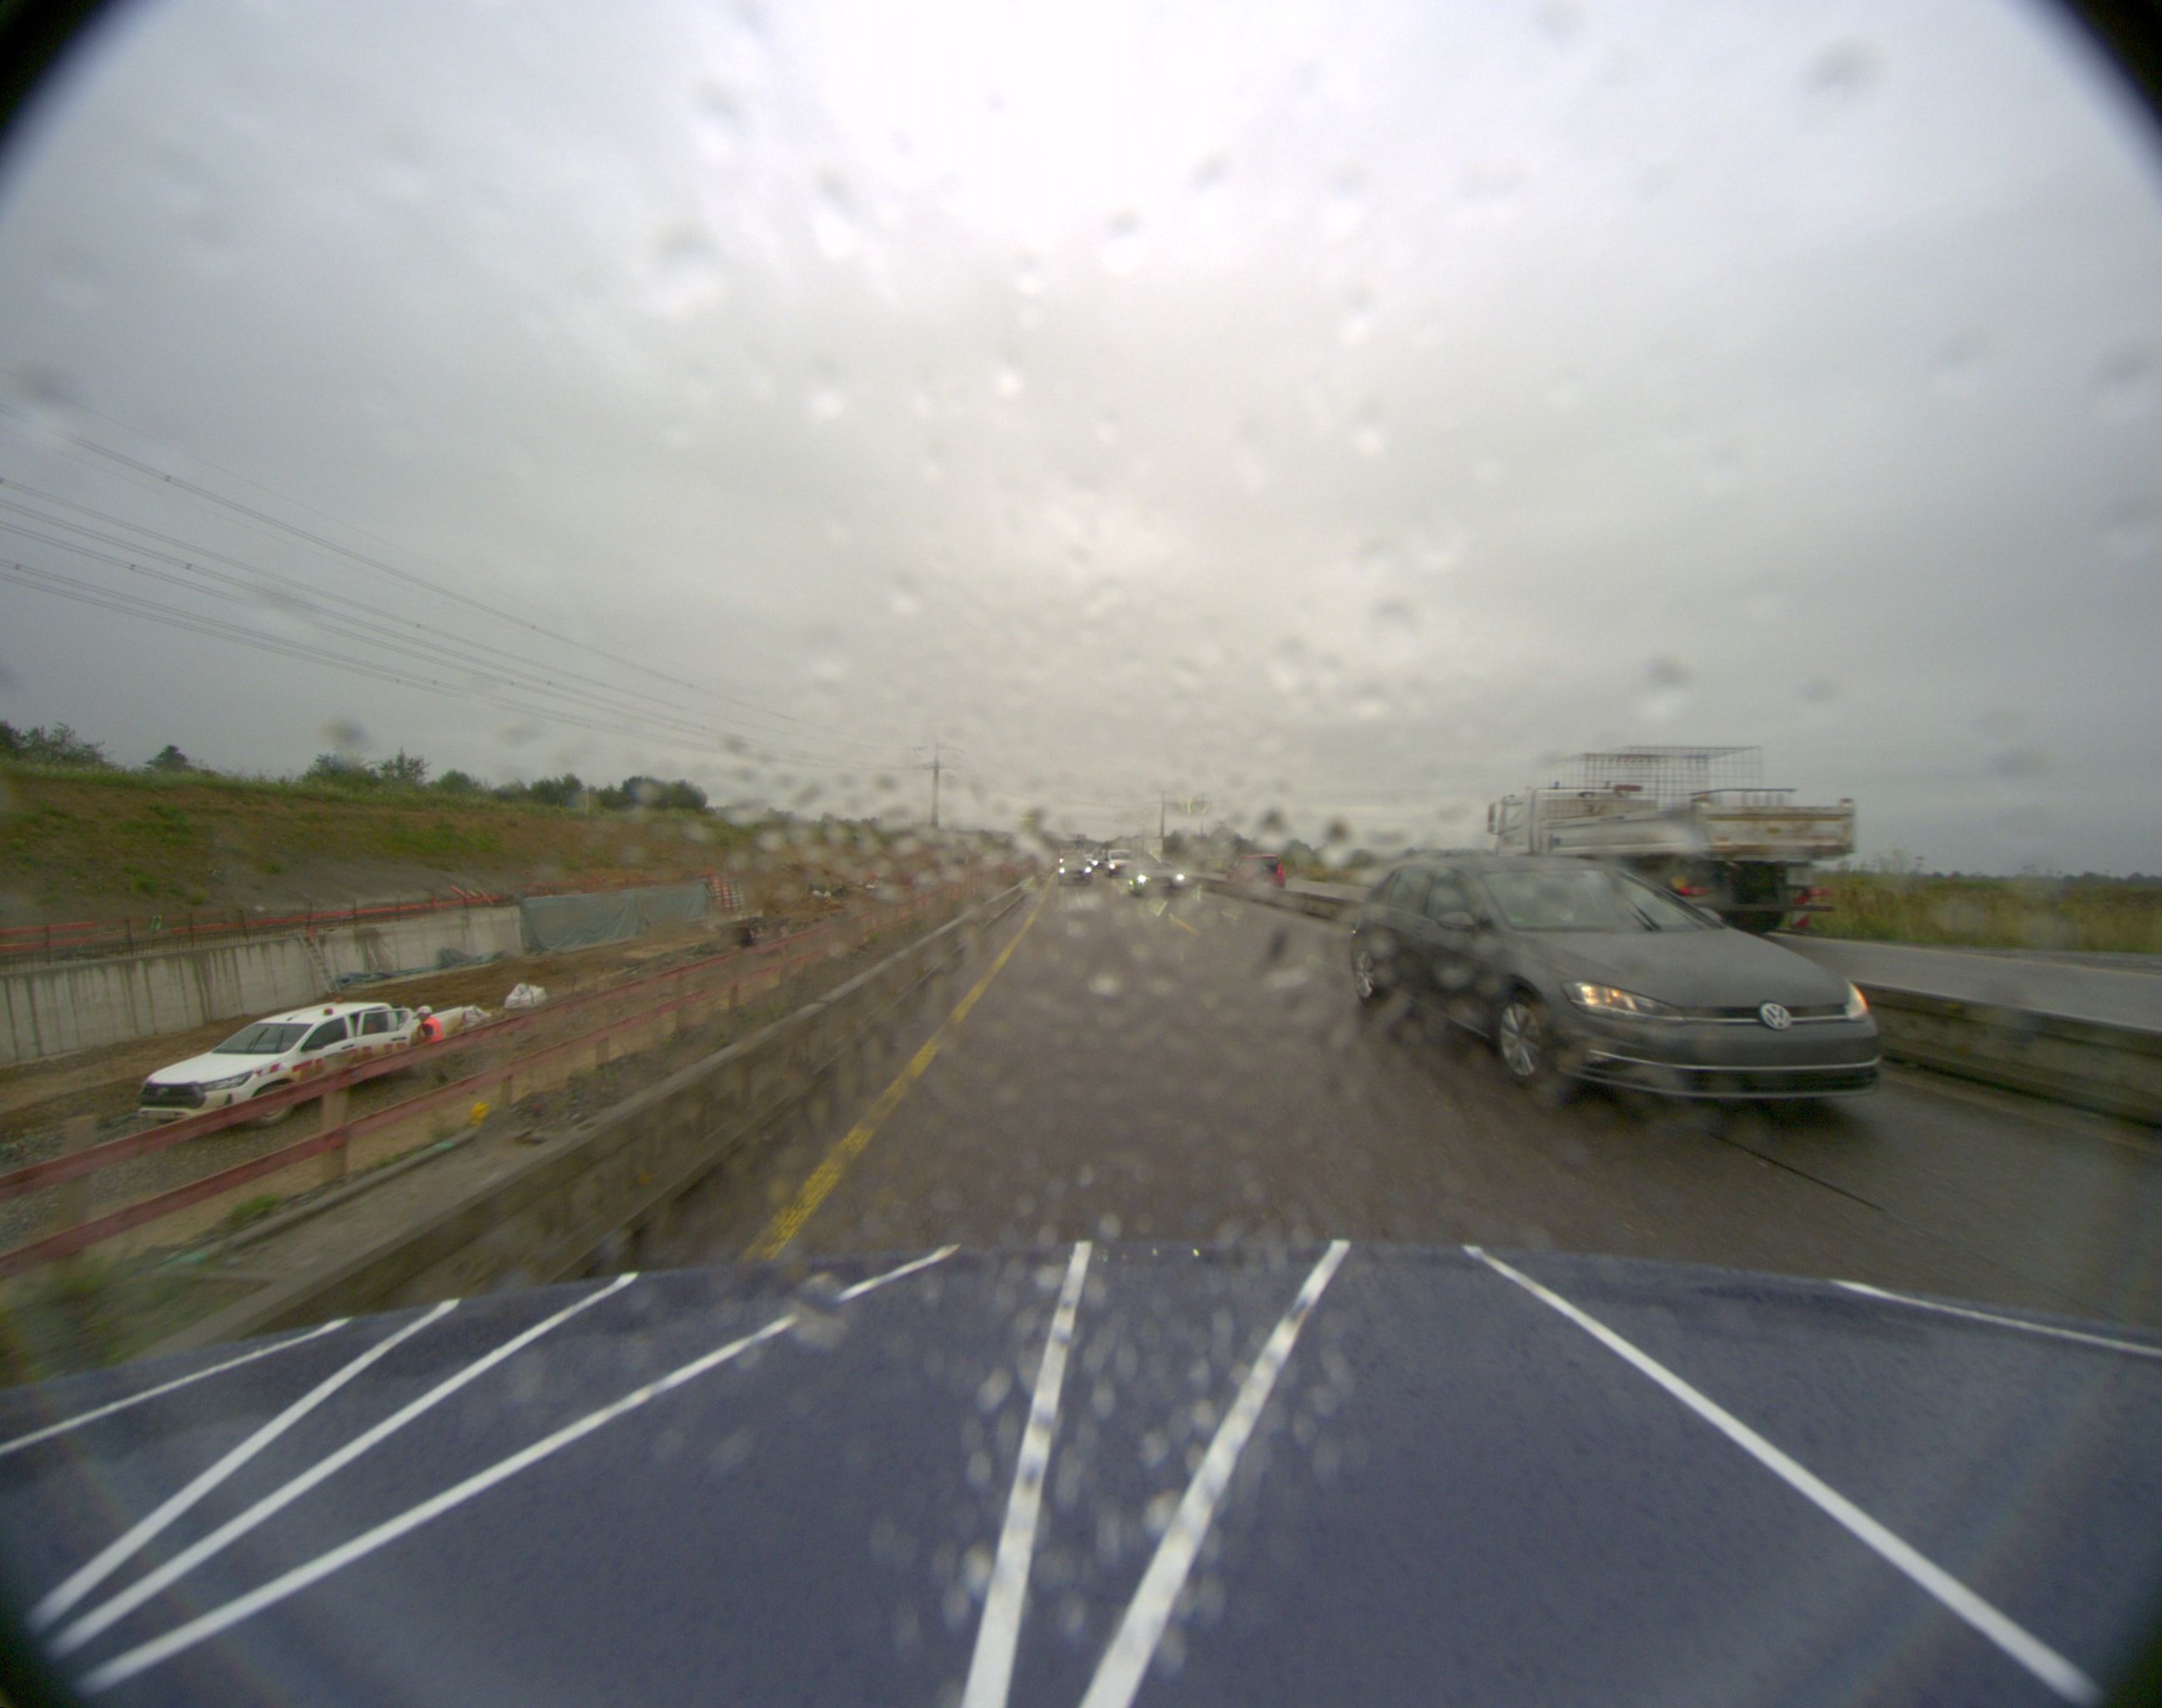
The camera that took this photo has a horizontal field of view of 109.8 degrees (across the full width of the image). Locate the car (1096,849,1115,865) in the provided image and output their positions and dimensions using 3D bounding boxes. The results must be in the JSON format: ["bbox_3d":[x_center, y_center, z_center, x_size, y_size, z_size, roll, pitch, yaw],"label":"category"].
[{"bbox_3d":[2.480,0.304,76.735,1.799,1.521,4.067,-2,1,2],"label":"car"}]

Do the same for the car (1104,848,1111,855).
[{"bbox_3d":[7.083,-0.725,205.058,1.730,1.749,4.089,-1,1,-1],"label":"car"}]

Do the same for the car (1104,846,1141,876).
[{"bbox_3d":[2.784,0.428,52.528,2.161,1.848,5.178,-2,1,-1],"label":"car"}]

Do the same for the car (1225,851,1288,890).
[{"bbox_3d":[6.905,0.615,30.199,1.642,1.388,3.592,-2,1,0],"label":"car"}]

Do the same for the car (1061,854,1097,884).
[{"bbox_3d":[-0.115,0.769,41.530,1.799,1.524,4.307,-2,0,0],"label":"car"}]

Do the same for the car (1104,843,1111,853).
[{"bbox_3d":[7.657,-1.767,218.749,1.730,2.707,4.090,-1,1,0],"label":"car"}]

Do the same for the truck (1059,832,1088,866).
[{"bbox_3d":[-0.770,-0.597,87.930,2.836,3.617,9.119,-2,1,1],"label":"truck"}]

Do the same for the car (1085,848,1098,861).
[{"bbox_3d":[1.567,0.072,110.815,1.799,1.850,4.286,-2,1,1],"label":"car"}]

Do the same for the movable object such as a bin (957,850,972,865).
[{"bbox_3d":[-21.636,0.657,141.469,2.252,2.703,3.999,-2,1,-1],"label":"movable object such as a bin"}]

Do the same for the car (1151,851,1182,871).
[{"bbox_3d":[6.756,0.494,60.378,1.830,1.434,4.696,-1,1,0],"label":"car"}]

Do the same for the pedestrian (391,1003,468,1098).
[{"bbox_3d":[-14.095,4.230,16.464,0.809,1.789,0.936,0,2,4],"label":"pedestrian"}]

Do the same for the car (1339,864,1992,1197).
[{"bbox_3d":[3.460,0.861,5.624,1.654,1.414,4.079,-1,1,-1],"label":"car"}]

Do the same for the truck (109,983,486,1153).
[{"bbox_3d":[-15.762,4.179,15.981,1.766,1.860,5.786,0,1,2],"label":"truck"}]

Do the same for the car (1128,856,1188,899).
[{"bbox_3d":[2.863,0.833,28.913,1.799,1.389,4.268,-2,1,0],"label":"car"}]

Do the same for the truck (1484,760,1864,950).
[{"bbox_3d":[10.790,0.000,14.886,2.364,2.877,6.548,0,0,1],"label":"truck"}]

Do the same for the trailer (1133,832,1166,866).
[{"bbox_3d":[8.841,-0.661,99.846,2.794,4.176,13.671,-1,0,-1],"label":"trailer"}]
